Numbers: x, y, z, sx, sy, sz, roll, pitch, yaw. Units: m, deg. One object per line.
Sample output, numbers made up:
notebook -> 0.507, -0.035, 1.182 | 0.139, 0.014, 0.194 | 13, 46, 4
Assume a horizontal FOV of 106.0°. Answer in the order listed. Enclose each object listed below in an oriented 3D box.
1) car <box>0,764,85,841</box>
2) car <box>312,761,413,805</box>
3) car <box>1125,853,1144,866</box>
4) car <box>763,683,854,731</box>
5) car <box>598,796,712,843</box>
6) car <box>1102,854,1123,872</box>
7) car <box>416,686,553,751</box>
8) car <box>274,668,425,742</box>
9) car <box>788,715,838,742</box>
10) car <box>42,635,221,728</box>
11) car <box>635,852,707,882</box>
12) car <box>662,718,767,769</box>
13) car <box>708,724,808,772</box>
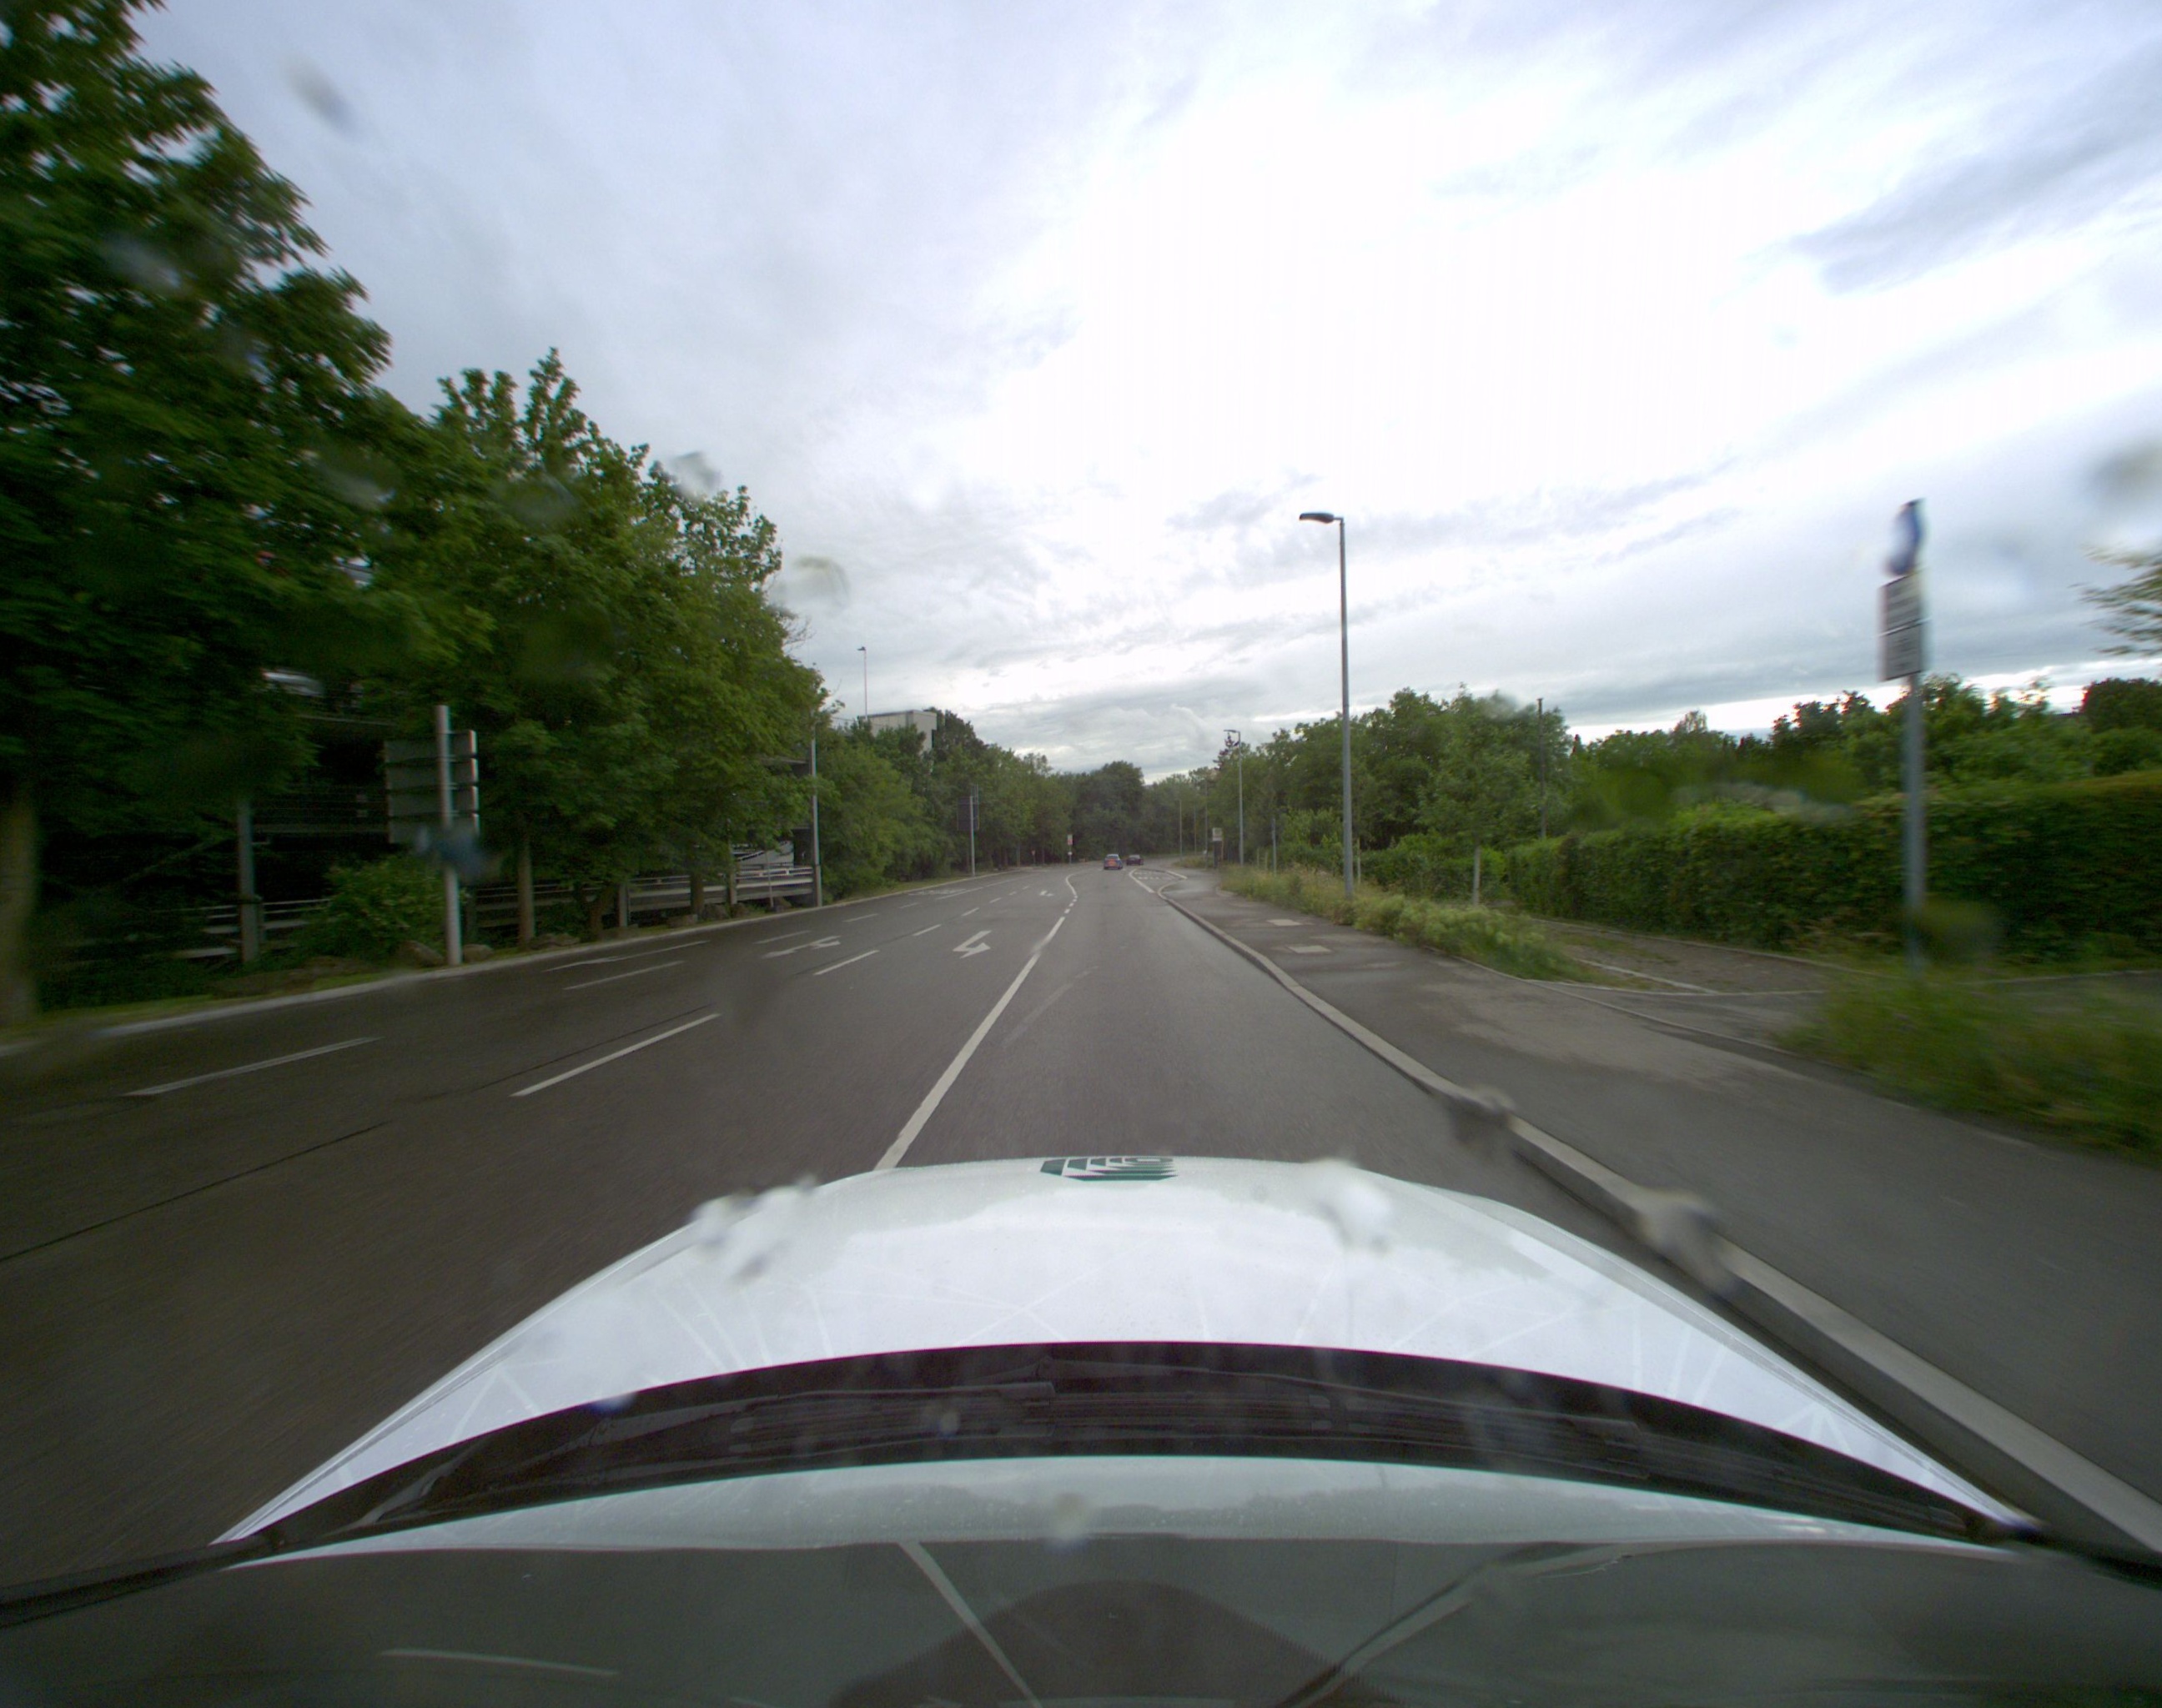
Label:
car -> -23.188, -1.059, 17.228 | 3.949, 1.519, 2.013 | 1, 2, 30
car -> -32.147, -3.122, 36.424 | 3.949, 1.519, 2.012 | -3, 0, 27
car -> 6.988, 0.727, 105.816 | 1.915, 1.486, 3.812 | -2, 2, 11
car -> -13.225, -7.076, 39.544 | 3.949, 1.519, 2.013 | -3, 0, 30
car -> -16.449, -1.288, 31.448 | 3.949, 1.519, 2.013 | -3, 0, 30
car -> 3.339, 0.940, 85.760 | 1.984, 1.689, 4.007 | -3, 2, 5
car -> -18.873, -4.214, 25.751 | 3.949, 1.519, 2.013 | 1, 2, 30
car -> -20.783, -4.138, 23.119 | 3.949, 1.519, 2.013 | 1, 2, 30
car -> -20.140, -9.415, 61.179 | 3.204, 1.519, 1.595 | -3, 0, 23
car -> -22.481, -3.971, 19.272 | 3.949, 1.519, 2.013 | 1, 2, 30
car -> -22.287, 0.700, 44.275 | 3.432, 1.519, 1.595 | -2, 0, 23
car -> -15.278, -4.542, 33.936 | 3.949, 1.519, 2.013 | -3, 0, 30
car -> -14.234, -4.622, 35.856 | 3.949, 1.519, 2.013 | -3, 0, 30
